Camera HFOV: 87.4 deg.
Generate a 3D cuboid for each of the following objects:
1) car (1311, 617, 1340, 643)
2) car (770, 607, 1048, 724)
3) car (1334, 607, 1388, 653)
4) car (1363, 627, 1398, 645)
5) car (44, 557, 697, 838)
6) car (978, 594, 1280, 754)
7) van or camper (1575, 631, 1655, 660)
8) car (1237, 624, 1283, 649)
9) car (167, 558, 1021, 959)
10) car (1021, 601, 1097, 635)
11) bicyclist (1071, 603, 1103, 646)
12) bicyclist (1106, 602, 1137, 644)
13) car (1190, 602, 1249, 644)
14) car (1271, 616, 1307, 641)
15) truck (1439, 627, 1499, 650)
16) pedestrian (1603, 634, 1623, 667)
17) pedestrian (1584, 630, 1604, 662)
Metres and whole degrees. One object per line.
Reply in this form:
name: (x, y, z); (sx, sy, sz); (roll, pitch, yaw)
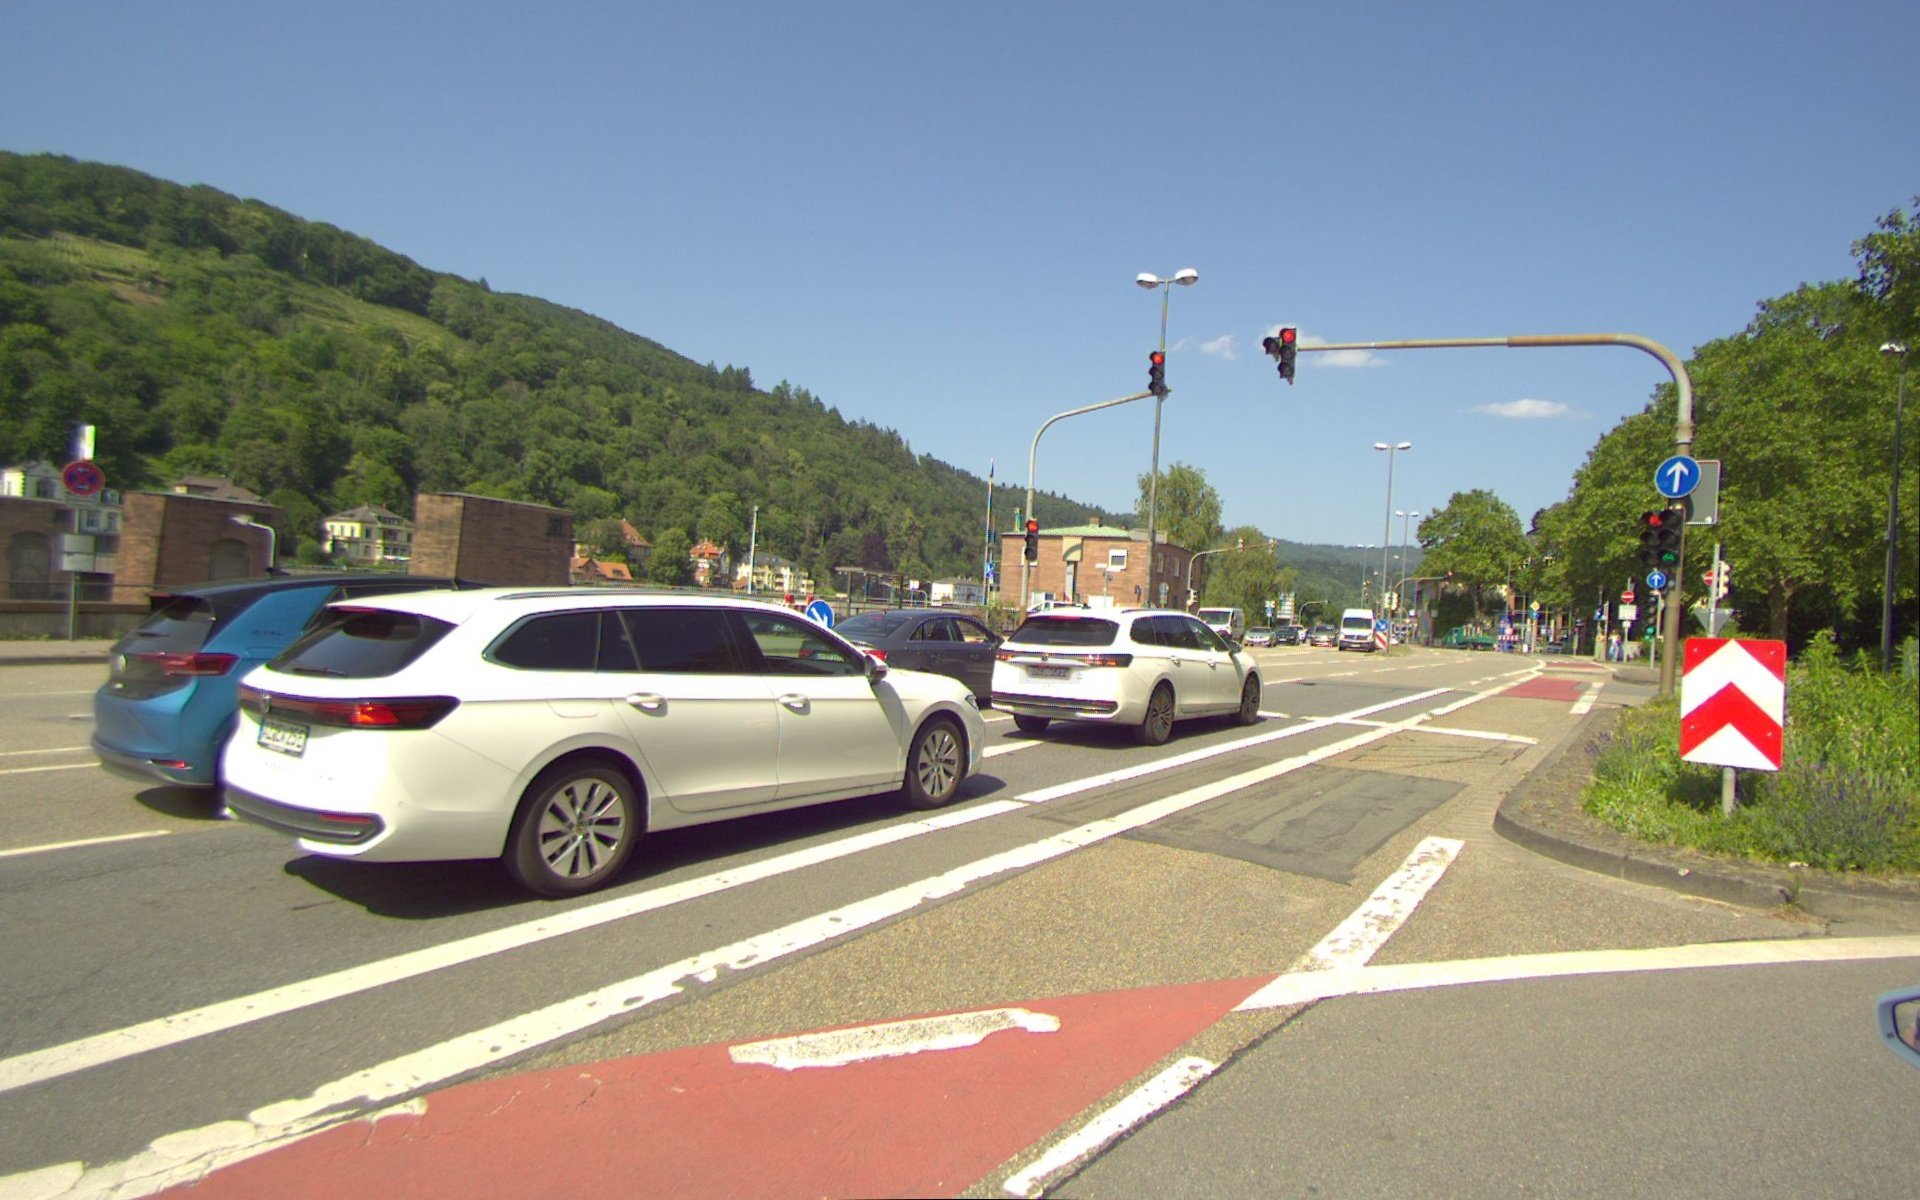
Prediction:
car: (27.602, 2.228, 75.864); (1.961, 1.857, 3.999); (1, 0, 21)
car: (-0.577, 0.835, 14.314); (1.842, 1.377, 3.986); (1, 0, 36)
car: (24.936, 1.827, 62.363); (2.348, 2.611, 6.045); (1, 0, 29)
car: (52.987, 4.538, 126.722); (1.912, 2.040, 3.985); (2, 0, -17)
car: (-4.252, 0.575, 7.827); (1.842, 1.583, 3.986); (1, 0, 36)
car: (2.280, 0.792, 12.302); (1.762, 1.552, 4.721); (1, -1, 35)
van or camper: (47.779, 3.285, 73.365); (1.980, 1.927, 4.512); (2, -1, -35)
car: (19.859, 2.368, 66.368); (2.172, 1.477, 4.746); (1, -1, 25)
car: (-1.782, 0.645, 6.428); (1.968, 1.554, 4.839); (1, 0, 37)
car: (6.295, 1.129, 64.192); (4.529, 2.040, 1.999); (2, 0, -4)
bicyclist: (6.280, 1.213, 49.595); (1.194, 2.040, 1.117); (1, 0, 29)
bicyclist: (8.188, 1.161, 50.883); (1.194, 2.040, 1.117); (1, 0, 29)
car: (14.164, 1.251, 54.659); (2.180, 2.106, 5.039); (1, 0, 25)
car: (24.832, 2.120, 75.738); (2.171, 1.804, 4.748); (1, 0, 22)
truck: (49.952, 3.774, 98.785); (2.124, 2.040, 6.264); (2, 0, -7)
pedestrian: (35.612, 2.747, 54.798); (0.754, 1.731, 0.872); (1, -1, 44)
pedestrian: (34.900, 2.541, 55.294); (0.754, 1.741, 0.790); (1, -1, 44)
